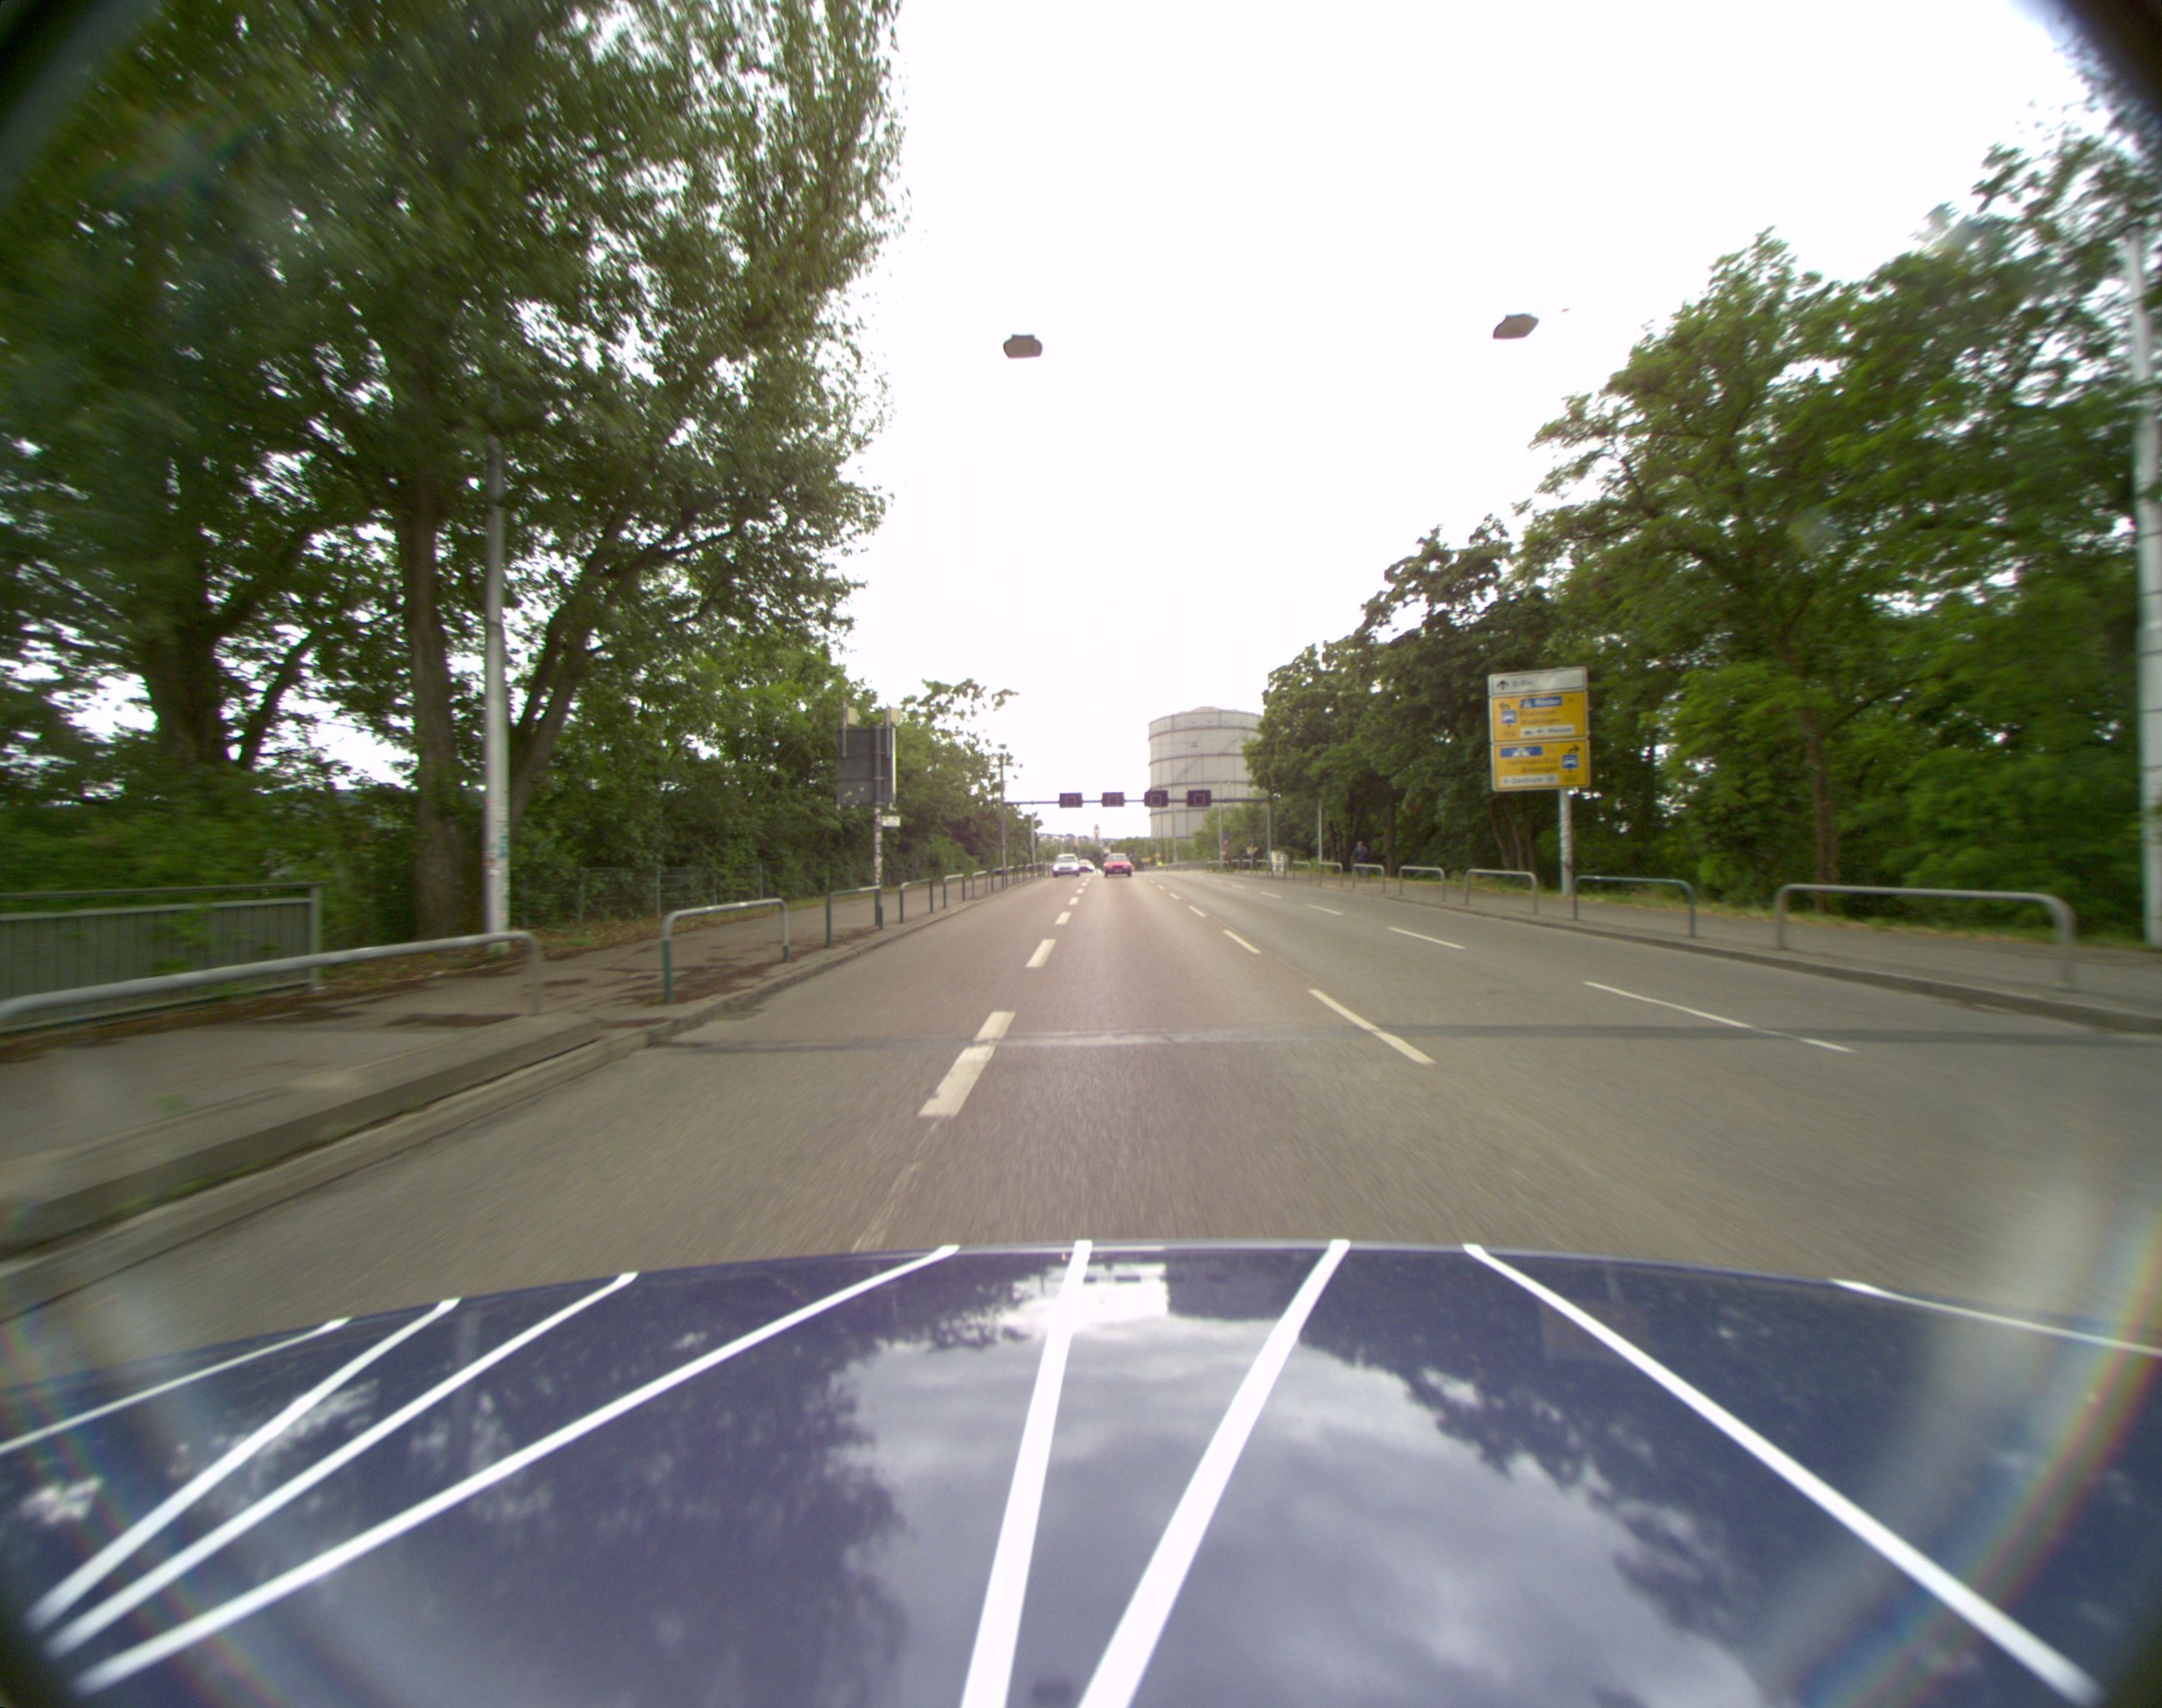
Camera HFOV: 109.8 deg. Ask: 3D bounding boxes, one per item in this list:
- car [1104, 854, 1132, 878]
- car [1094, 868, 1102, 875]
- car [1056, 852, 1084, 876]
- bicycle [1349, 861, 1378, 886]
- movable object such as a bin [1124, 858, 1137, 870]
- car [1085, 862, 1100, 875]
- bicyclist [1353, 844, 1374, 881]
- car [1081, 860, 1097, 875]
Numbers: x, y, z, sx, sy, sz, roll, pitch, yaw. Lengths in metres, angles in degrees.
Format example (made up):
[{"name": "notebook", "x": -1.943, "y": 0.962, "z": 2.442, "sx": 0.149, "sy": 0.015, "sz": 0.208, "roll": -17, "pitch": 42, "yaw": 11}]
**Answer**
[{"name": "car", "x": 2.280, "y": 0.765, "z": 47.416, "sx": 1.696, "sy": 1.434, "sz": 4.001, "roll": 1, "pitch": -1, "yaw": 2}, {"name": "car", "x": 4.503, "y": 4.580, "z": 200.897, "sx": 1.998, "sy": 1.792, "sz": 4.002, "roll": -3, "pitch": 0, "yaw": 5}, {"name": "car", "x": -0.742, "y": 0.697, "z": 53.634, "sx": 1.771, "sy": 1.564, "sz": 4.001, "roll": -1, "pitch": 0, "yaw": 2}, {"name": "bicycle", "x": 11.831, "y": 0.790, "z": 31.832, "sx": 0.486, "sy": 0.996, "sz": 2.002, "roll": 0, "pitch": 0, "yaw": 1}, {"name": "movable object such as a bin", "x": 13.810, "y": 2.863, "z": 212.457, "sx": 3.463, "sy": 3.302, "sz": 9.362, "roll": 1, "pitch": -1, "yaw": 2}, {"name": "car", "x": 1.622, "y": 2.081, "z": 106.279, "sx": 1.998, "sy": 1.775, "sz": 4.002, "roll": -1, "pitch": -1, "yaw": 3}, {"name": "bicyclist", "x": 11.827, "y": 0.355, "z": 31.837, "sx": 0.516, "sy": 1.507, "sz": 0.984, "roll": 0, "pitch": 0, "yaw": 1}, {"name": "car", "x": 0.934, "y": 1.571, "z": 89.799, "sx": 1.776, "sy": 1.696, "sz": 4.000, "roll": -2, "pitch": 0, "yaw": 1}]
